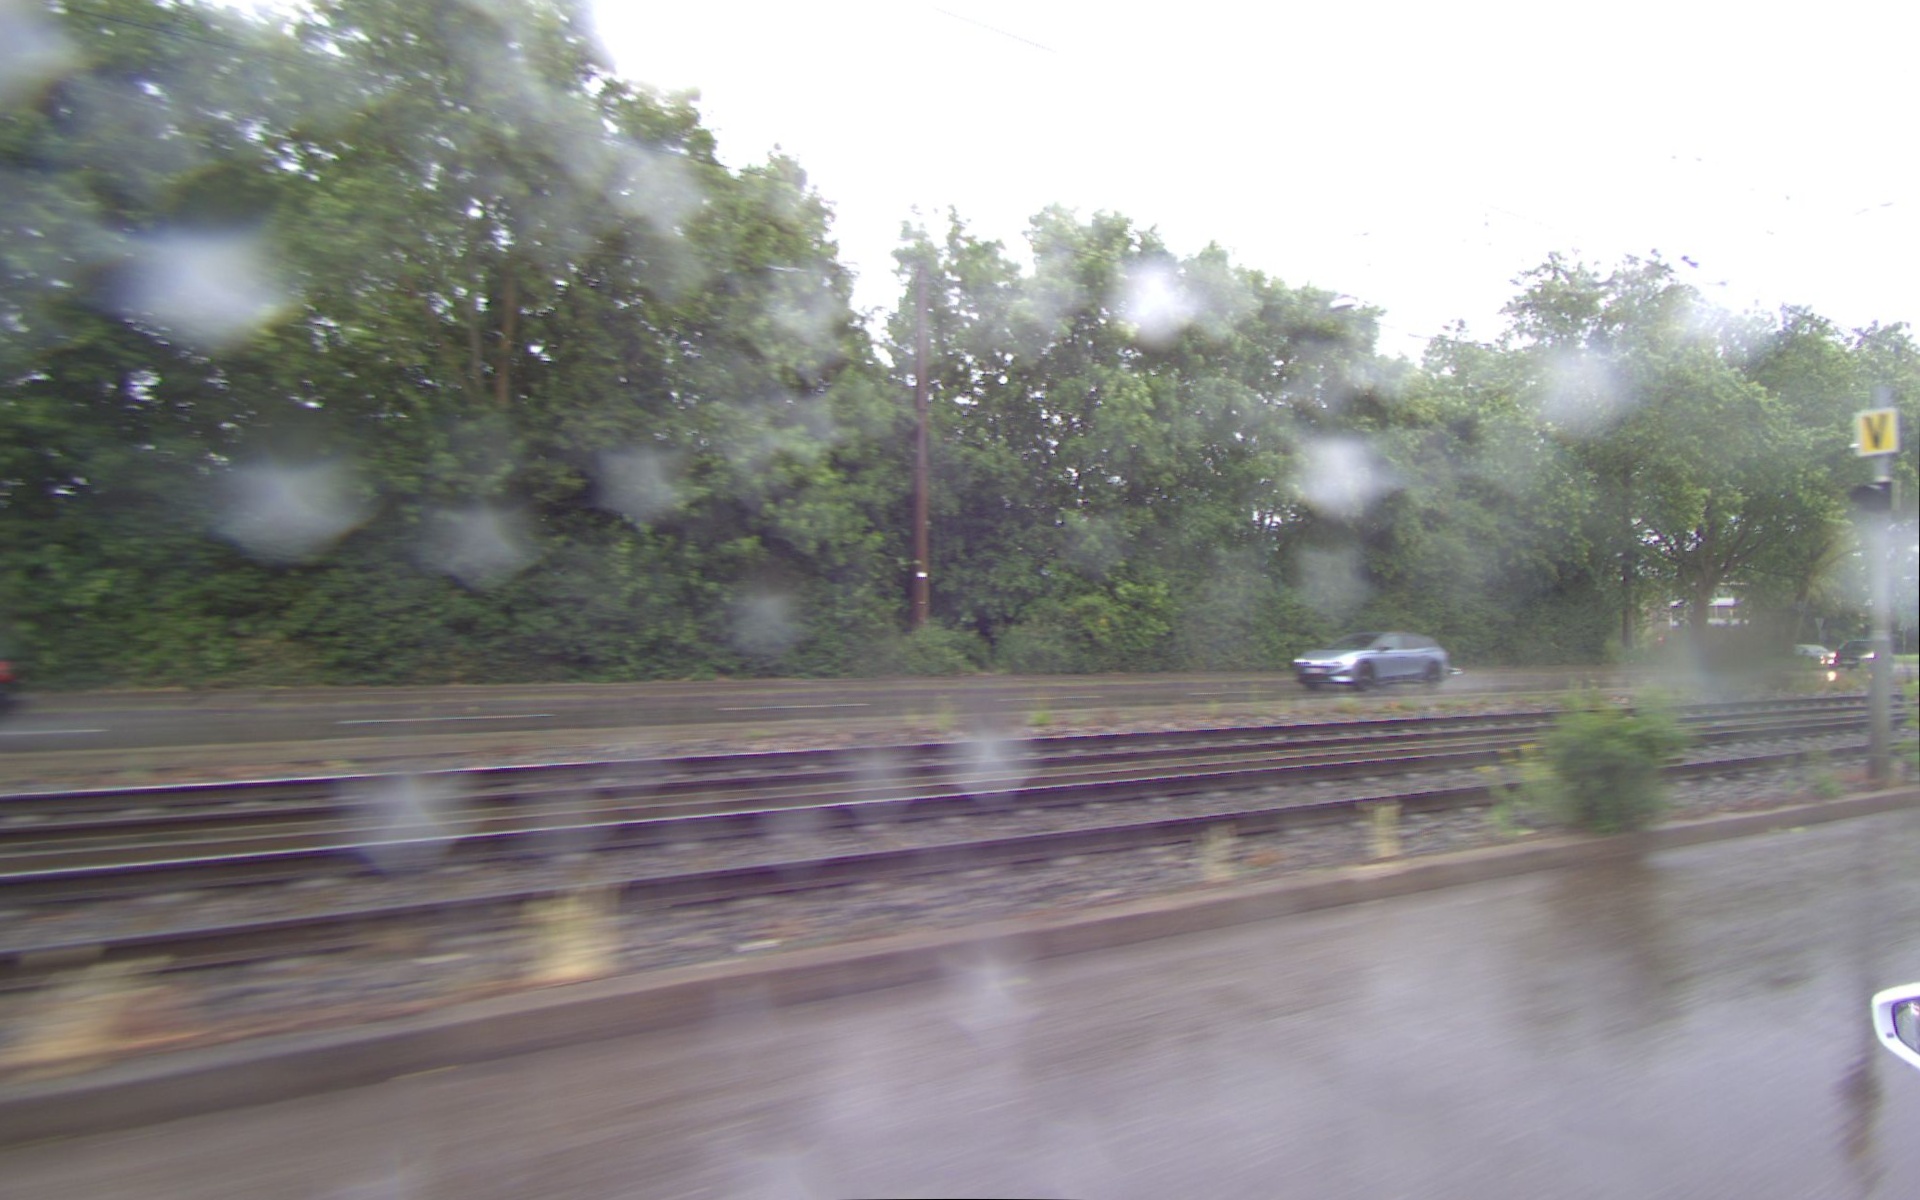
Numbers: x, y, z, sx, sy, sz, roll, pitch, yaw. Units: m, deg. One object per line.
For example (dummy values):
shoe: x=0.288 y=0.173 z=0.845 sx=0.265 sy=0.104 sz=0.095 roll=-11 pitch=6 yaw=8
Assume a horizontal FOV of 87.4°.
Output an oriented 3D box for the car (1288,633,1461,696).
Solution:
car: x=11.167 y=1.676 z=26.937 sx=4.897 sy=1.543 sz=1.682 roll=1 pitch=-1 yaw=-30

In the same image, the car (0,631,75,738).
car: x=-14.532 y=1.092 z=12.984 sx=4.328 sy=1.348 sz=1.763 roll=1 pitch=-1 yaw=-30

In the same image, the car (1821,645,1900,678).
car: x=42.880 y=2.916 z=47.830 sx=3.893 sy=1.424 sz=1.674 roll=2 pitch=-1 yaw=-30
